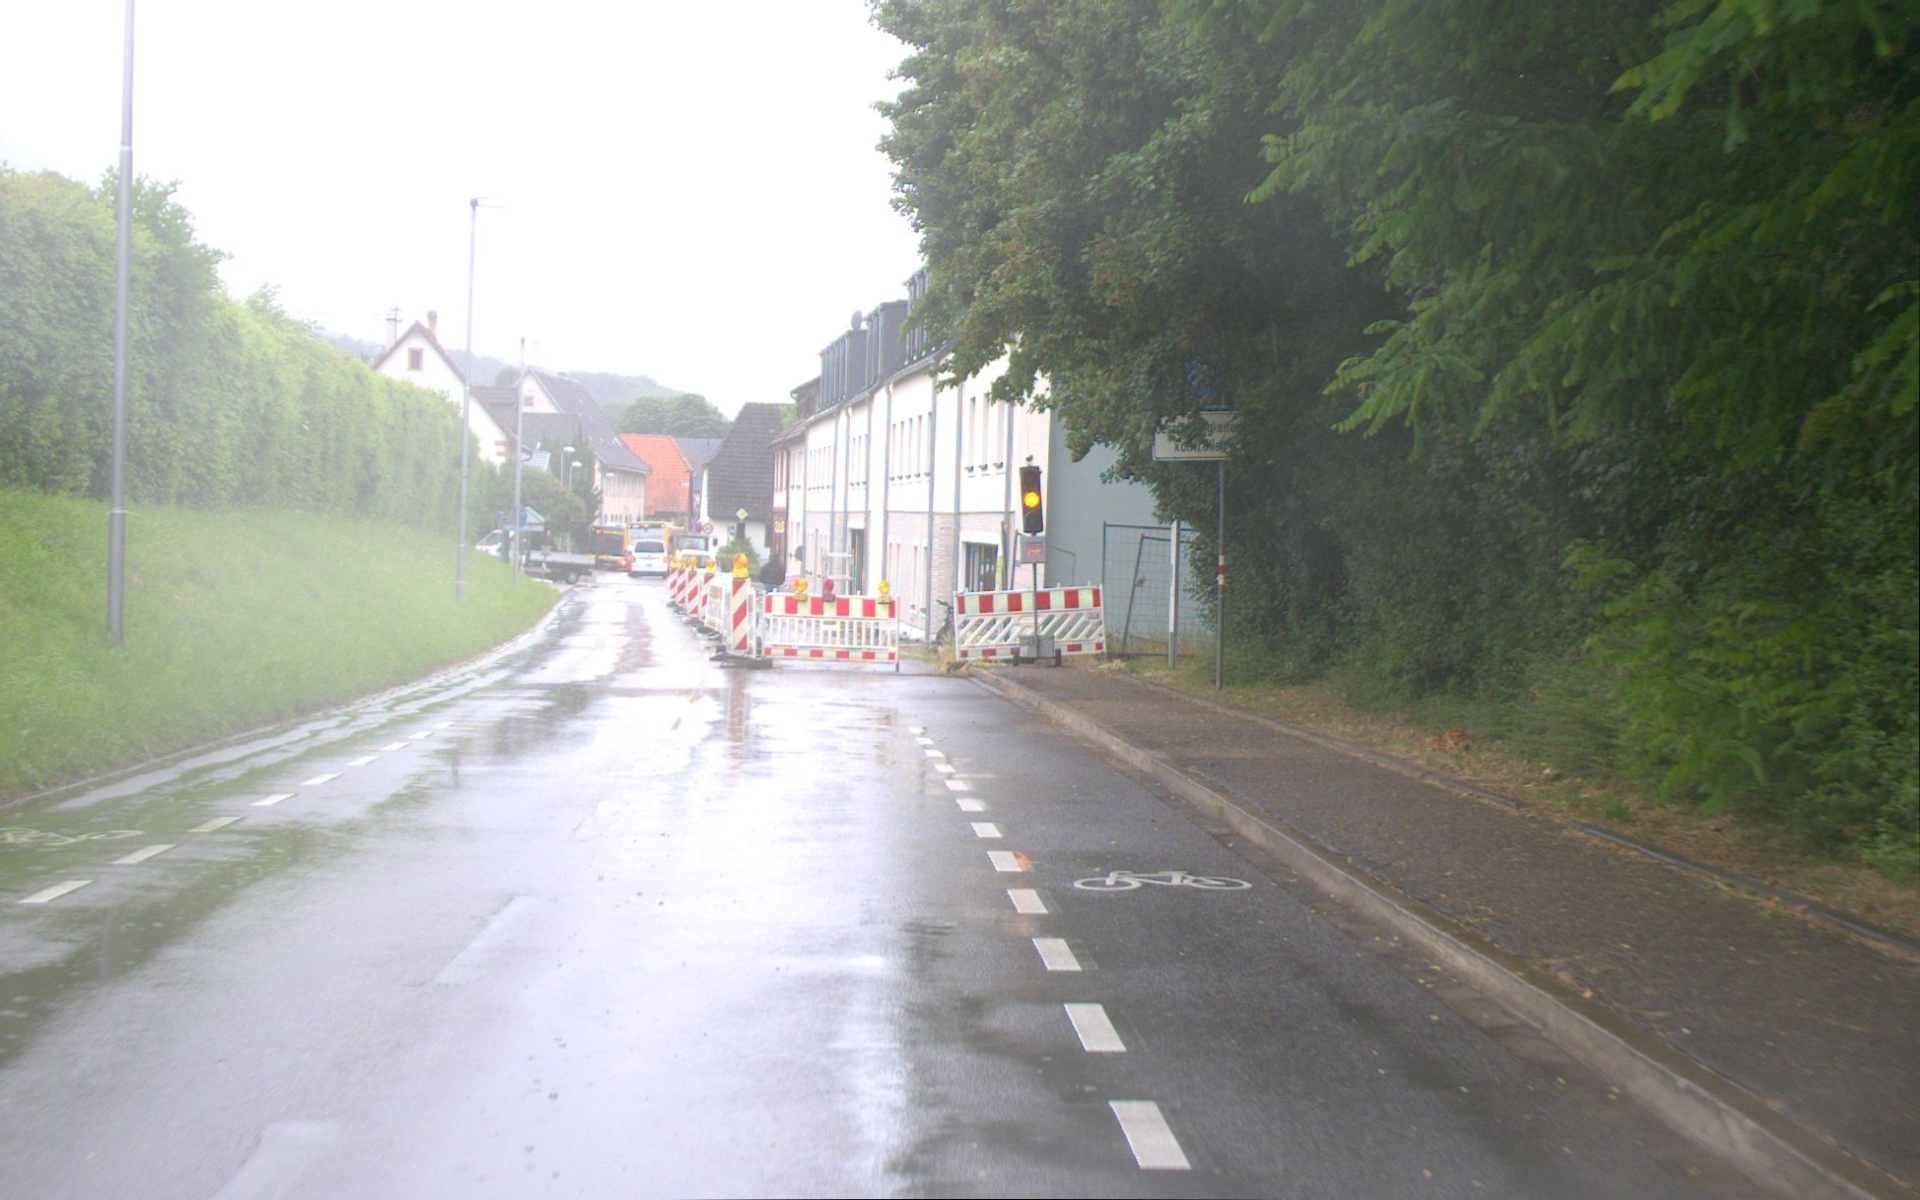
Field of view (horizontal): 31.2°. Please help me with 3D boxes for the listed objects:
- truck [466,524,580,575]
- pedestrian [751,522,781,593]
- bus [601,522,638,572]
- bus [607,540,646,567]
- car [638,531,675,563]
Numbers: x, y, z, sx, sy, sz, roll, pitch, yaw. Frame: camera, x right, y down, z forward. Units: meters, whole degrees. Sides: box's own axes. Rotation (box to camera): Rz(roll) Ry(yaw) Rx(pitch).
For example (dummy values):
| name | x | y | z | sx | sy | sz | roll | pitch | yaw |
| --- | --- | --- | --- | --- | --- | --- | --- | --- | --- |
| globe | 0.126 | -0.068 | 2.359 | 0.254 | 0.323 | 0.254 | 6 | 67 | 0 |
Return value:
| name | x | y | z | sx | sy | sz | roll | pitch | yaw |
| --- | --- | --- | --- | --- | --- | --- | --- | --- | --- |
| truck | -19.280 | -2.245 | 151.678 | 4.887 | 2.006 | 2.001 | 2 | 2 | -8 |
| pedestrian | -4.842 | -1.067 | 85.927 | 0.665 | 1.749 | 0.812 | -1 | 1 | -9 |
| bus | -21.515 | -3.308 | 217.067 | 2.241 | 3.092 | 7.032 | -1 | 1 | -6 |
| bus | -18.972 | -2.621 | 195.473 | 1.794 | 1.405 | 4.000 | 3 | 0 | -1 |
| car | -15.588 | -2.737 | 176.426 | 1.818 | 1.636 | 4.096 | -1 | 1 | -6 |
